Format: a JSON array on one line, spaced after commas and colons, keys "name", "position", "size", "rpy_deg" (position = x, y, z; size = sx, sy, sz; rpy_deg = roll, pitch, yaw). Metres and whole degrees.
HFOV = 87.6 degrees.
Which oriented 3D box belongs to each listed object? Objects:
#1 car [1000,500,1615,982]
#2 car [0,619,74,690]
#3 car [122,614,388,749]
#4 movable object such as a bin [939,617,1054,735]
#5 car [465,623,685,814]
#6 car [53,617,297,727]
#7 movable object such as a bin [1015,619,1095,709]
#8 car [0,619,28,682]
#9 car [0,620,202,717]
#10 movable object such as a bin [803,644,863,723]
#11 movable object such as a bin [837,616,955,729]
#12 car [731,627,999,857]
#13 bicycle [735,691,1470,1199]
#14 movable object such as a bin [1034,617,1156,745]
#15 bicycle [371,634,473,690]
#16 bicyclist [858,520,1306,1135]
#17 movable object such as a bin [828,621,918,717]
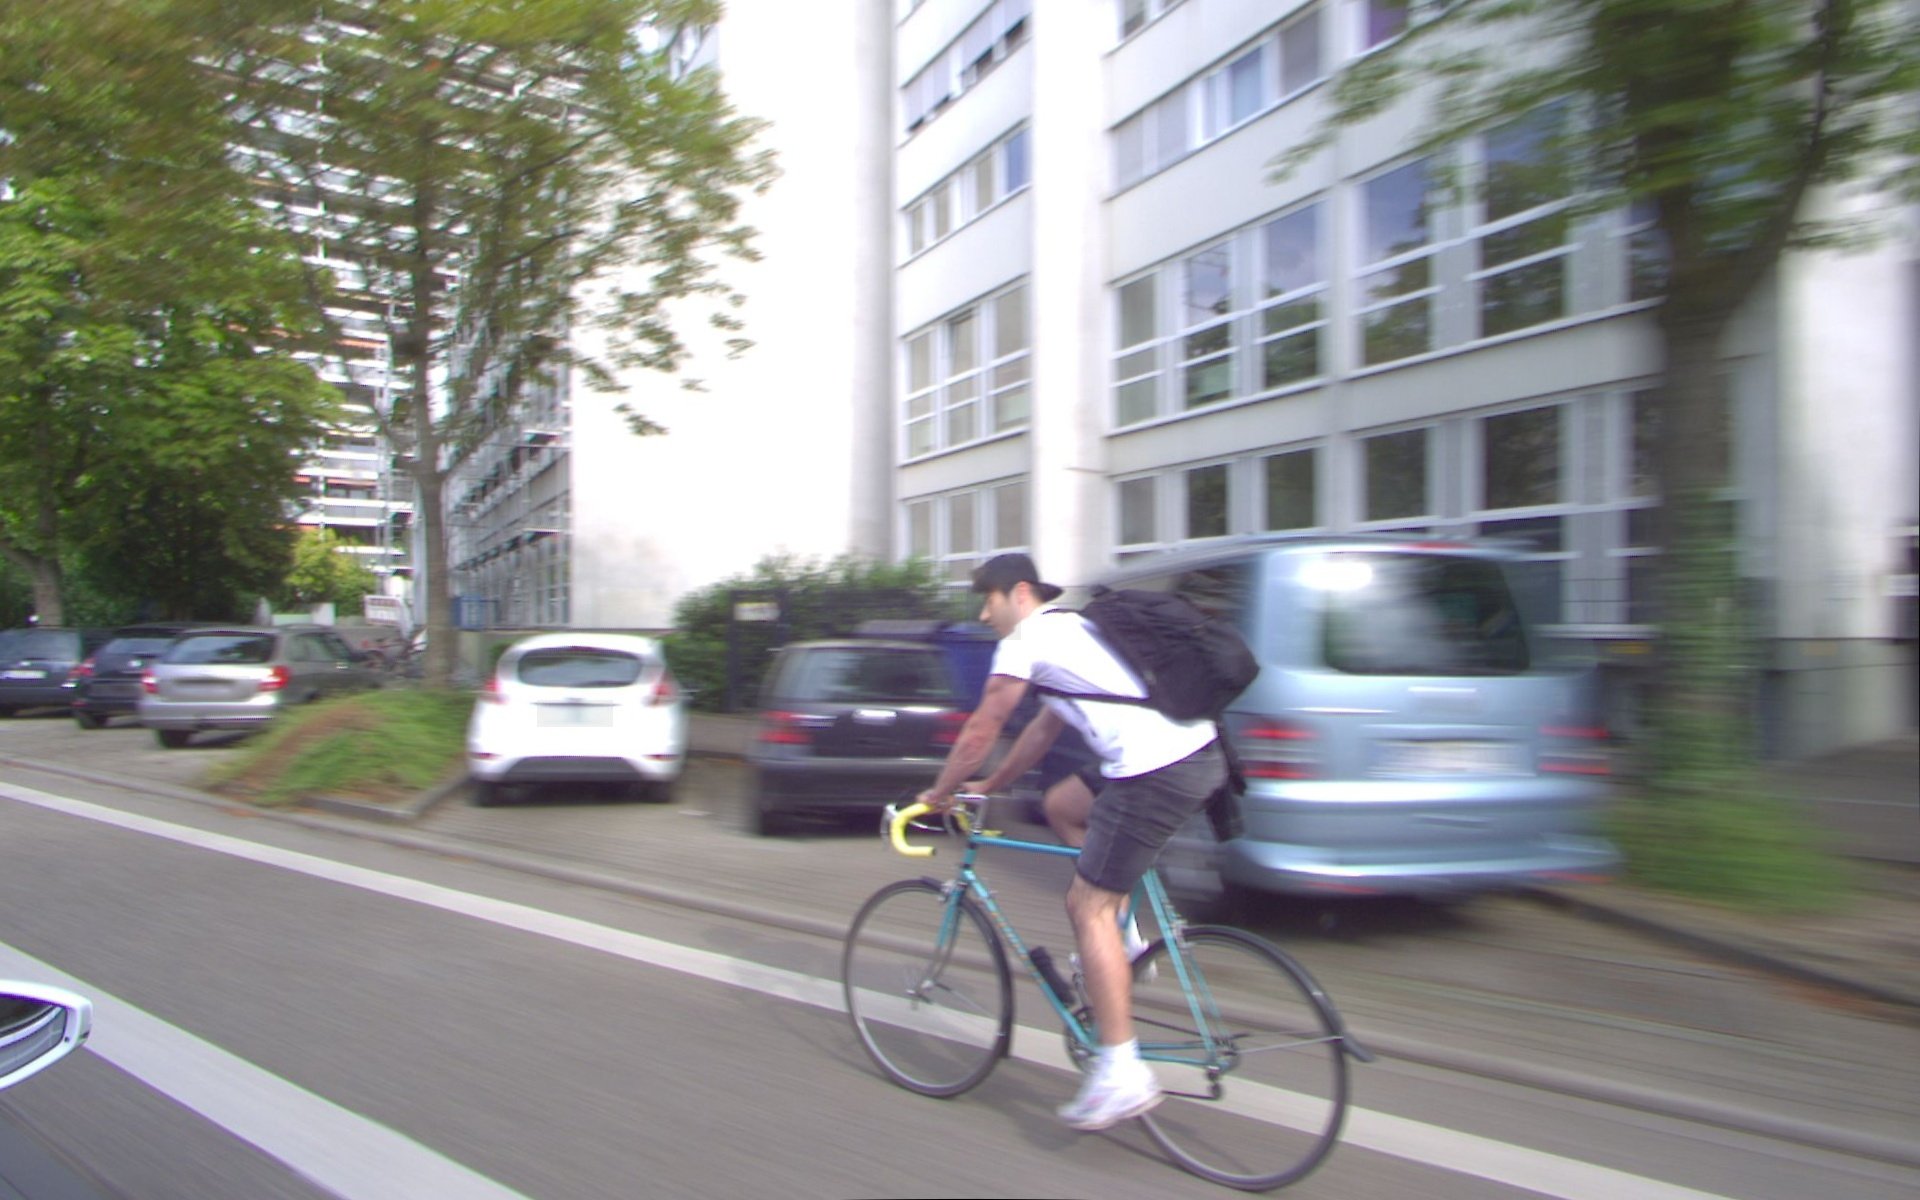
[{"name": "car", "position": [1.694, 0.675, 6.540], "size": [1.798, 2.040, 4.272], "rpy_deg": [1, -2, -13]}, {"name": "car", "position": [-20.479, 1.120, 20.632], "size": [1.593, 1.461, 3.535], "rpy_deg": [1, -1, -7]}, {"name": "car", "position": [-9.206, 1.004, 13.456], "size": [1.610, 1.541, 3.737], "rpy_deg": [1, -2, -13]}, {"name": "movable object such as a bin", "position": [0.510, 1.005, 13.688], "size": [1.196, 1.527, 1.068], "rpy_deg": [0, -2, 32]}, {"name": "car", "position": [-3.558, 0.993, 9.844], "size": [1.611, 1.478, 3.824], "rpy_deg": [1, -2, -15]}, {"name": "car", "position": [-12.300, 1.075, 15.999], "size": [1.610, 1.541, 3.737], "rpy_deg": [1, -2, -13]}, {"name": "movable object such as a bin", "position": [1.741, 1.156, 18.423], "size": [1.022, 1.582, 1.072], "rpy_deg": [2, -2, -35]}, {"name": "car", "position": [-23.056, 1.141, 22.363], "size": [1.530, 1.461, 3.447], "rpy_deg": [1, -1, -7]}, {"name": "car", "position": [-14.848, 1.108, 17.126], "size": [1.610, 1.477, 3.737], "rpy_deg": [1, -2, -13]}, {"name": "movable object such as a bin", "position": [-1.858, 1.208, 14.663], "size": [0.566, 1.117, 0.648], "rpy_deg": [0, -2, 40]}, {"name": "movable object such as a bin", "position": [-0.913, 1.008, 14.378], "size": [1.315, 1.527, 1.068], "rpy_deg": [0, -2, 32]}, {"name": "car", "position": [-1.023, 0.985, 8.500], "size": [1.647, 1.478, 3.824], "rpy_deg": [1, -2, -15]}, {"name": "bicycle", "position": [0.343, 0.962, 3.012], "size": [2.093, 1.265, 0.656], "rpy_deg": [0, -2, 31]}, {"name": "movable object such as a bin", "position": [1.718, 0.989, 12.717], "size": [1.196, 1.527, 1.068], "rpy_deg": [0, -2, 32]}, {"name": "bicycle", "position": [-11.926, 1.365, 22.249], "size": [1.944, 1.143, 0.536], "rpy_deg": [-1, 0, -29]}, {"name": "bicyclist", "position": [0.366, 0.562, 3.001], "size": [1.161, 1.482, 0.657], "rpy_deg": [0, -1, 30]}, {"name": "movable object such as a bin", "position": [-1.453, 1.128, 16.706], "size": [1.105, 1.542, 1.072], "rpy_deg": [2, -2, -35]}]
